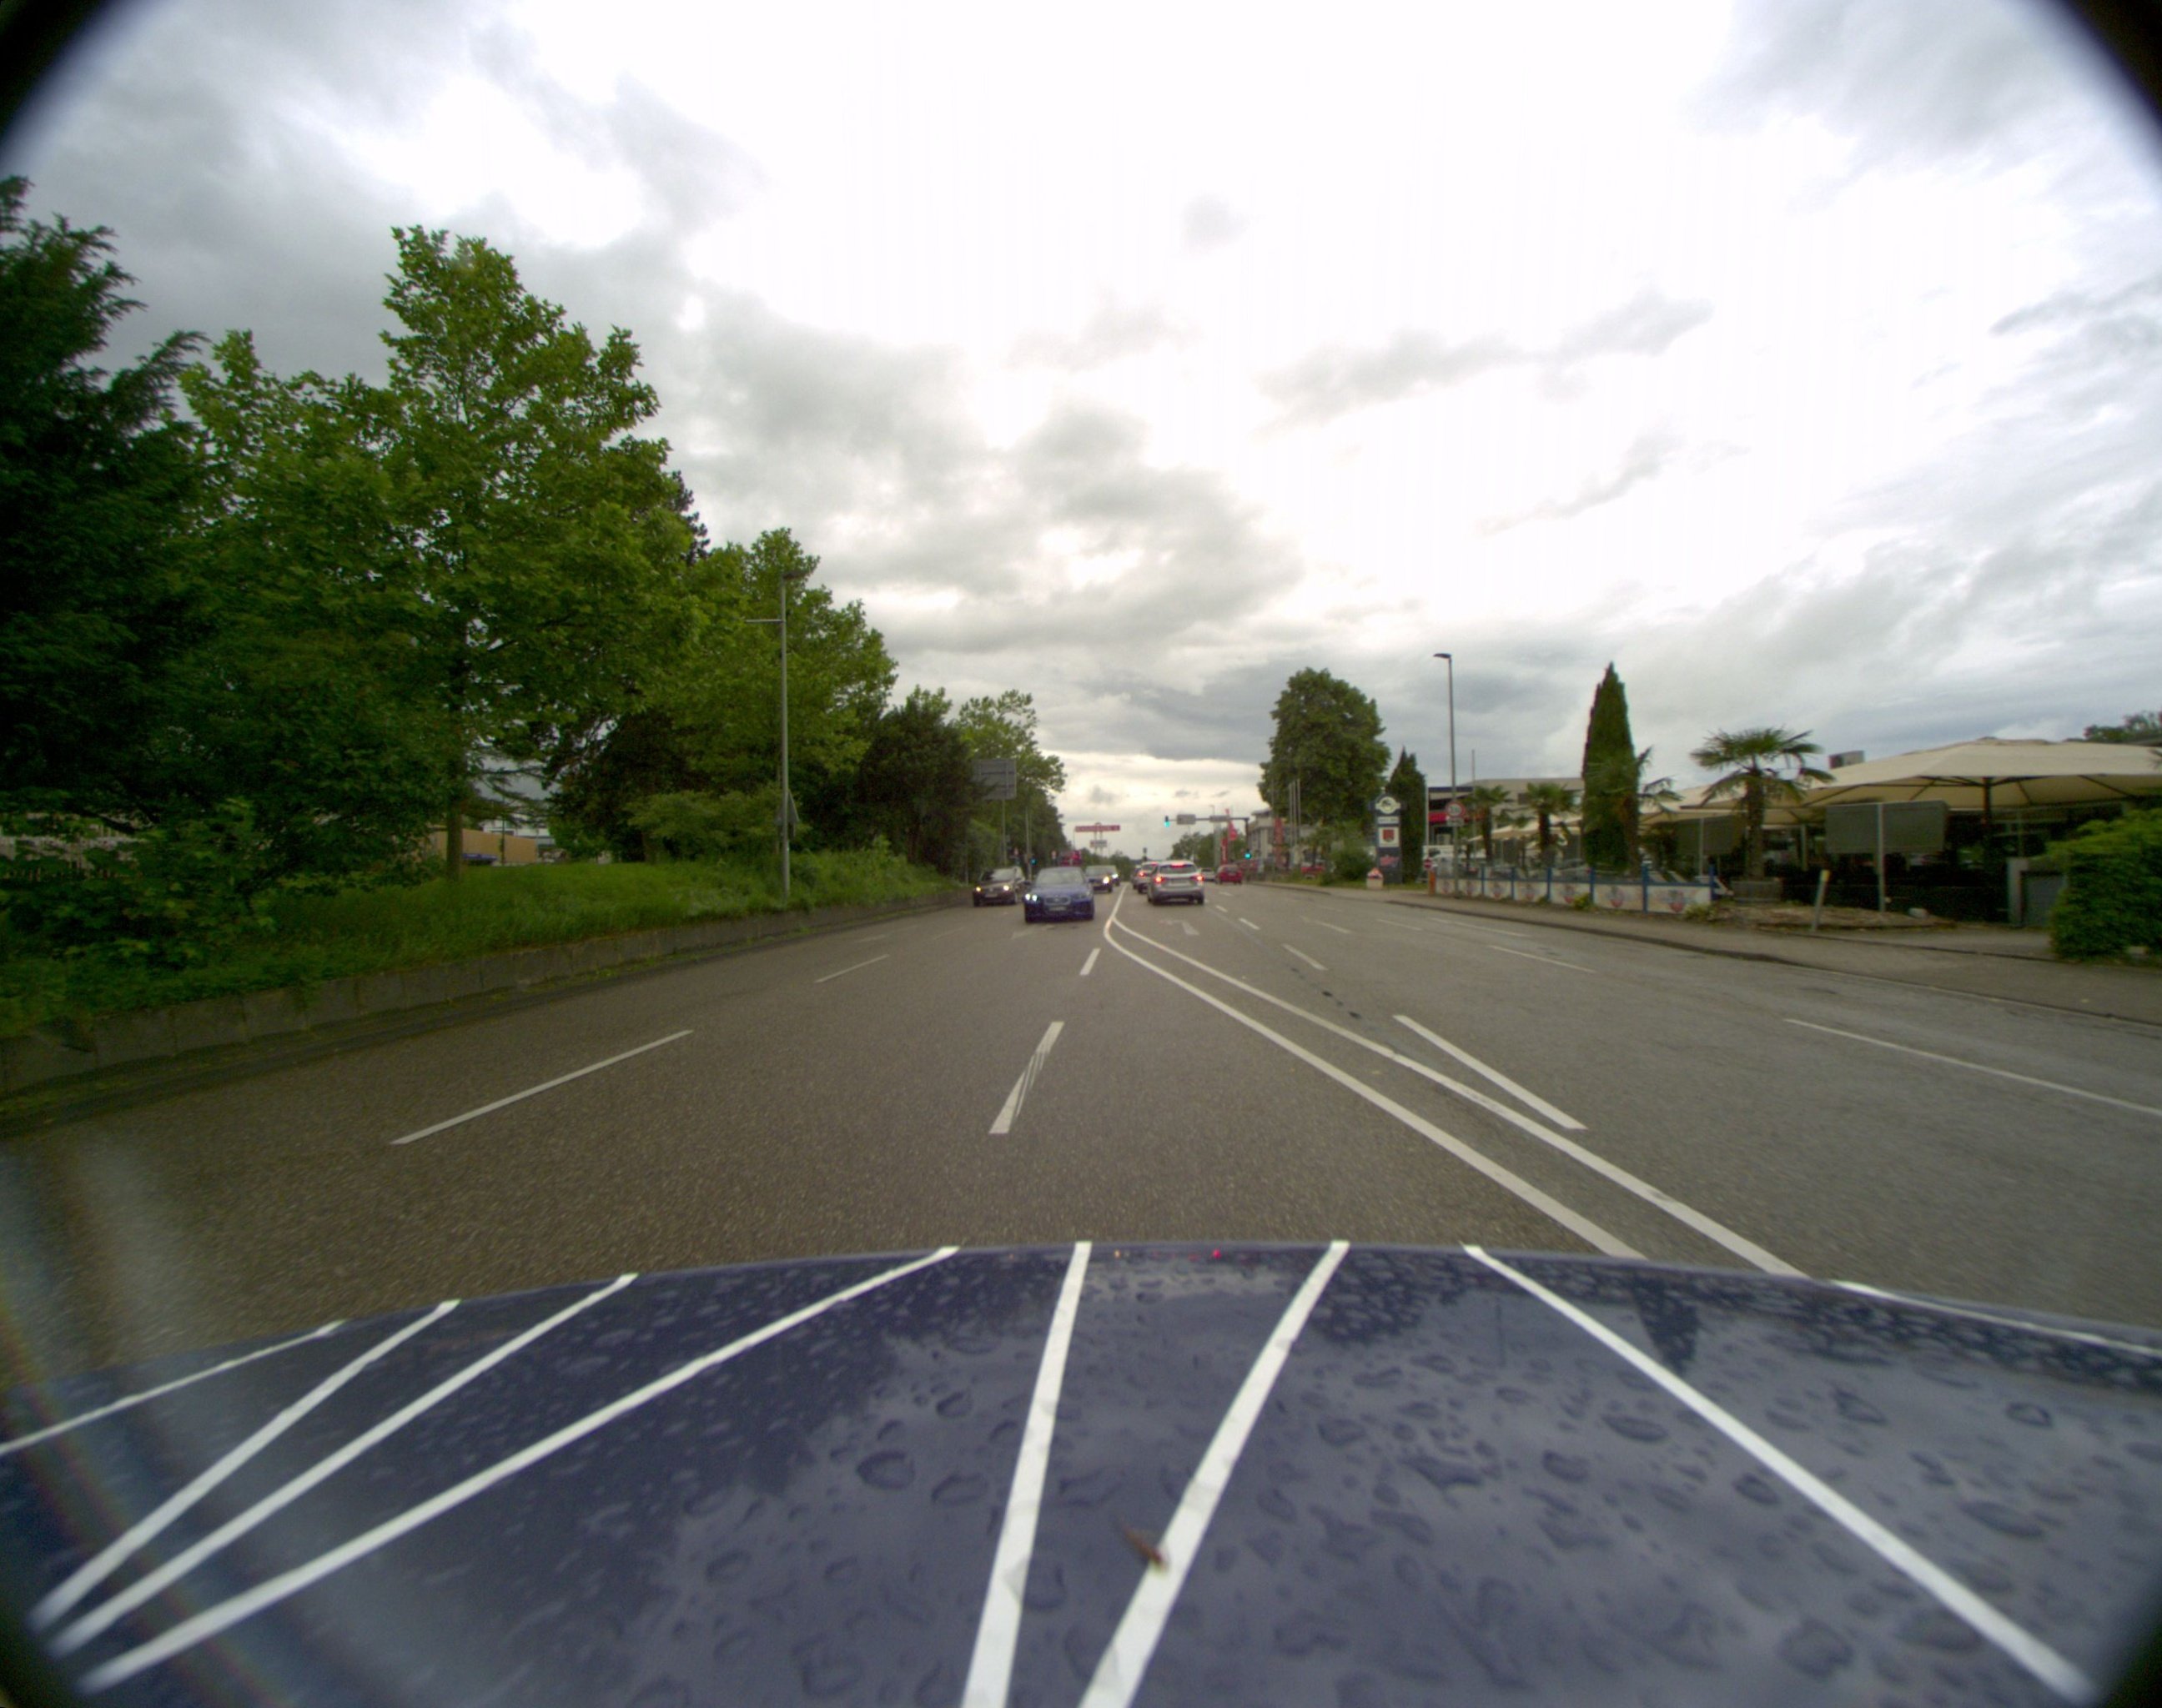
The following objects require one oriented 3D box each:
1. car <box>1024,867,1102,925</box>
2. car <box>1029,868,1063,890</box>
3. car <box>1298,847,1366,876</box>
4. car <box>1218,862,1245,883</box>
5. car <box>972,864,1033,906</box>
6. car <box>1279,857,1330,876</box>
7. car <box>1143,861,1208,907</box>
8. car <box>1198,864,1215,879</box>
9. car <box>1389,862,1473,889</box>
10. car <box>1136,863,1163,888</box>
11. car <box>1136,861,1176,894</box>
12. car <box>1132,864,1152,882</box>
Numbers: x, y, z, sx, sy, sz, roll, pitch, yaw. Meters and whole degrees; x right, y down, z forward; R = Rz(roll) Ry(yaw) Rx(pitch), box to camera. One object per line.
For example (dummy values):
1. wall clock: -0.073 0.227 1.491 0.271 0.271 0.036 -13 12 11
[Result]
1. car: -0.403 1.153 21.917 1.784 1.447 4.600 -2 -2 4
2. car: -2.373 1.736 52.978 1.784 1.447 4.682 -2 -2 4
3. car: 18.040 0.571 54.572 4.405 2.001 1.996 1 -1 -23
4. car: 11.745 1.430 59.608 1.640 1.524 3.973 1 0 5
5. car: -3.267 1.290 32.207 1.750 1.599 3.983 -2 -2 6
6. car: 18.173 1.017 61.837 3.608 1.495 1.669 -1 0 34
7. car: 3.369 1.024 27.697 1.754 1.499 4.301 -1 0 -1
8. car: 12.805 1.753 77.326 1.640 1.468 4.048 -1 -1 11
9. car: 20.868 1.262 45.300 4.372 1.455 1.996 1 1 -19
10. car: 4.277 1.333 47.627 1.605 1.432 3.950 -2 -1 4
11. car: 3.765 1.157 38.879 1.791 1.571 4.240 -1 0 3
12. car: 5.869 1.797 72.793 1.843 1.639 4.300 -1 -2 4
